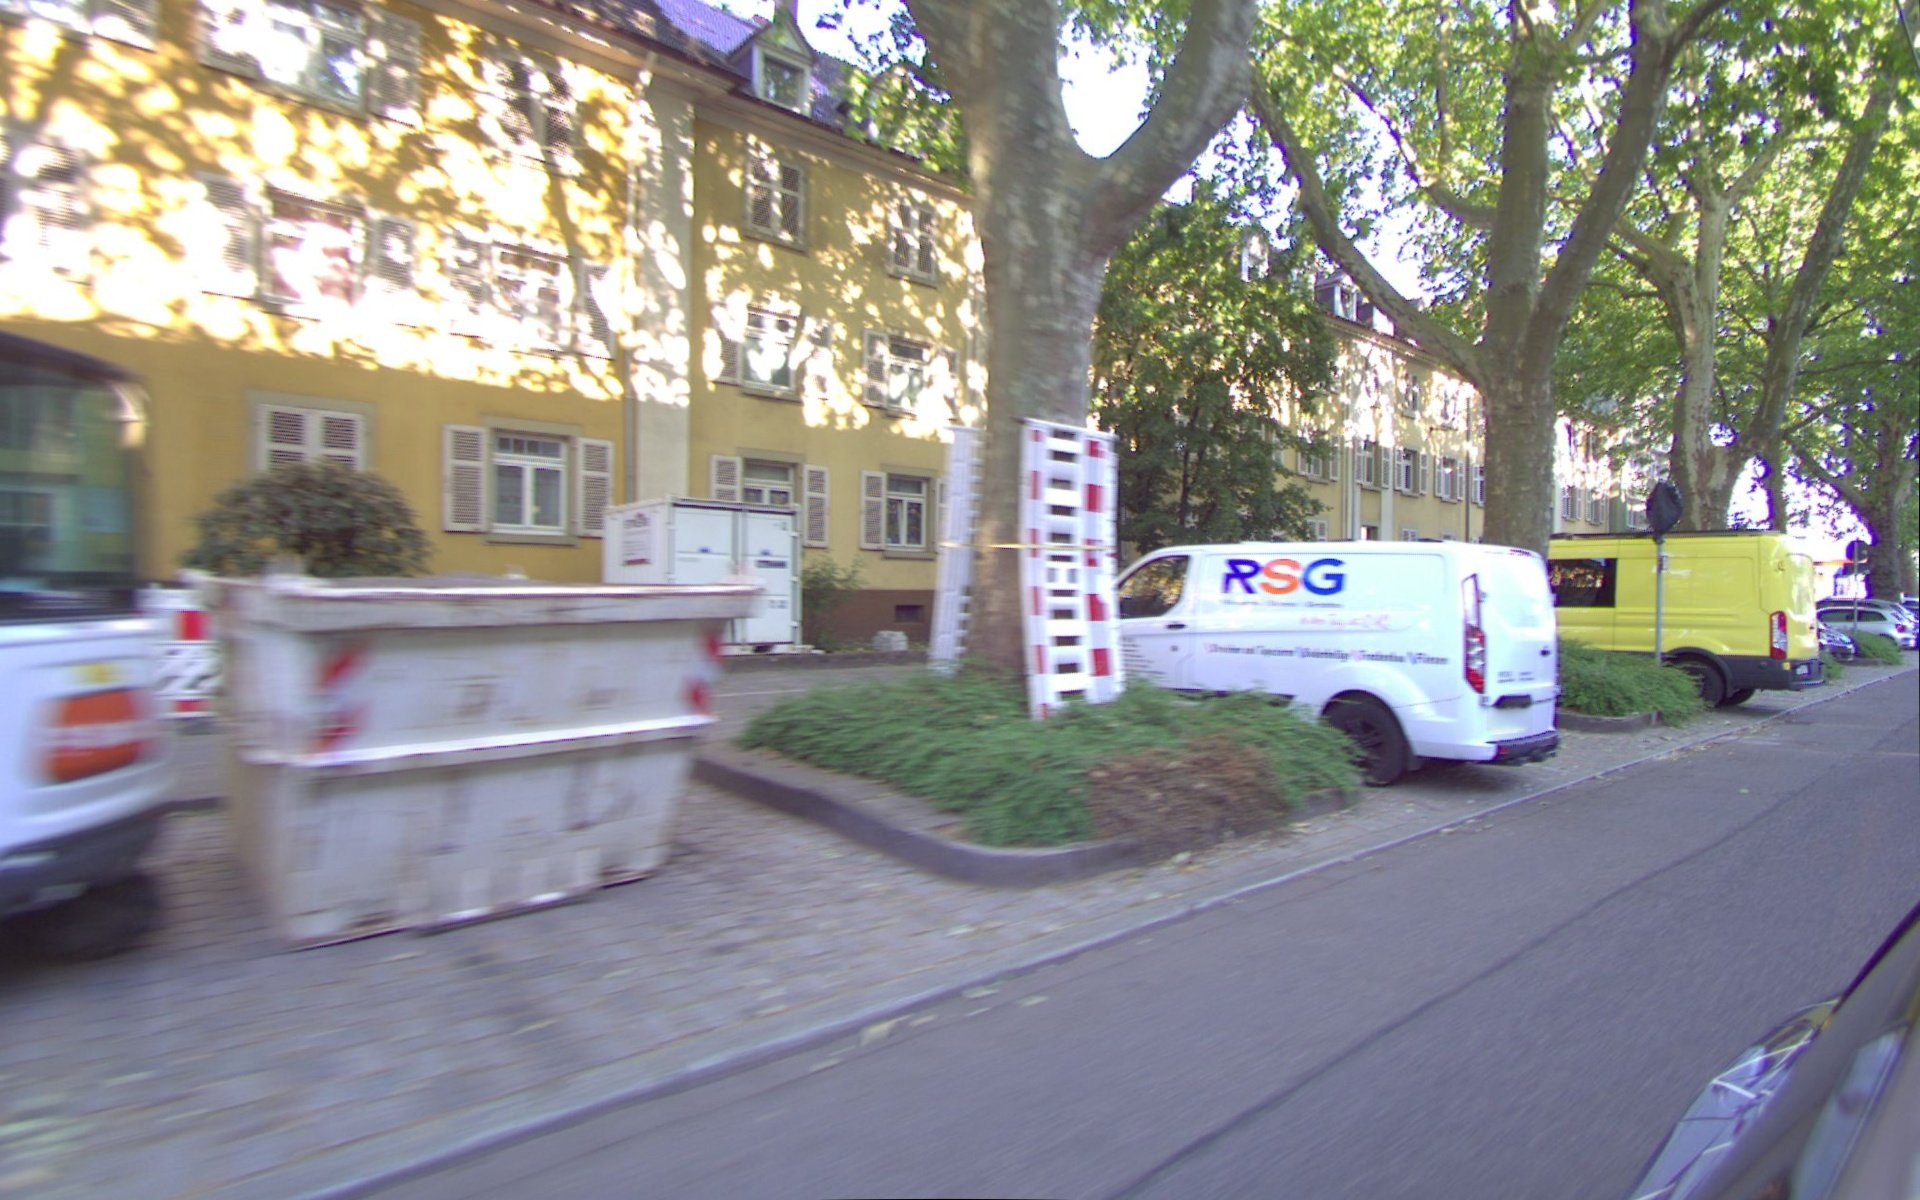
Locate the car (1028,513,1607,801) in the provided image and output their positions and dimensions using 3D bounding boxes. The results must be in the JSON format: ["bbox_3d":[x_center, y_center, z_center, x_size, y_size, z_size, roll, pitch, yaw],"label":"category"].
[{"bbox_3d":[3.071,0.346,9.656,2.027,2.038,4.844,1,1,-40],"label":"car"}]

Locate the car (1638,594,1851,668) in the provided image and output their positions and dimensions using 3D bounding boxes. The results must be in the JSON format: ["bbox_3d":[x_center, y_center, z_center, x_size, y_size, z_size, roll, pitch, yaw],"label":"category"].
[{"bbox_3d":[18.032,0.642,23.369,1.708,1.444,3.656,0,2,-44],"label":"car"}]

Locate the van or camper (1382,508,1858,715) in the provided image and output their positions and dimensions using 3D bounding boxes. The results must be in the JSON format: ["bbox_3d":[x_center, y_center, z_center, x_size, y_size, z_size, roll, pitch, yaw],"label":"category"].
[{"bbox_3d":[10.102,0.057,16.079,2.229,2.662,5.941,-1,2,-38],"label":"van or camper"}]

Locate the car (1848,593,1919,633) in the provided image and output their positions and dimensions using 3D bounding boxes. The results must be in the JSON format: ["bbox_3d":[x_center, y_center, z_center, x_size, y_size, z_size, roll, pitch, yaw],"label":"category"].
[{"bbox_3d":[41.267,0.564,43.900,1.764,1.625,3.882,1,2,-41],"label":"car"}]

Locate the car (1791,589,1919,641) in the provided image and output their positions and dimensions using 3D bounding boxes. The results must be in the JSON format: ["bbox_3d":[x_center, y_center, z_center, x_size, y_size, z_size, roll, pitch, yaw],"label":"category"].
[{"bbox_3d":[32.642,0.510,36.067,1.875,1.678,4.432,0,2,-42],"label":"car"}]

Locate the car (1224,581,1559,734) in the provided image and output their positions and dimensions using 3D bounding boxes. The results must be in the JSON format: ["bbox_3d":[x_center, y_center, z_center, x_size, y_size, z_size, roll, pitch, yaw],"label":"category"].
[{"bbox_3d":[5.065,0.566,12.129,1.669,1.559,3.309,0,1,-42],"label":"car"}]

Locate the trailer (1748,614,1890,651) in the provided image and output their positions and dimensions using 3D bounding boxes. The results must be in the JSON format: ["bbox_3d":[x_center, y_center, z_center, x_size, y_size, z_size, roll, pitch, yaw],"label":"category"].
[{"bbox_3d":[26.378,0.974,31.147,1.409,0.914,3.052,0,2,-34],"label":"trailer"}]

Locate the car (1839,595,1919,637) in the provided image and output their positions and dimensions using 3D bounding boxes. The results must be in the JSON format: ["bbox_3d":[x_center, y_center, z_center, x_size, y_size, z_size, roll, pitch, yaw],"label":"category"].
[{"bbox_3d":[37.596,0.646,40.183,1.712,1.516,3.886,0,2,-43],"label":"car"}]

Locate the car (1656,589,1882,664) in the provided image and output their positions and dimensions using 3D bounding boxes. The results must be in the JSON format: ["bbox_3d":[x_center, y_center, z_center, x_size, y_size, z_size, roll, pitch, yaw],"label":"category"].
[{"bbox_3d":[19.879,0.585,25.007,1.798,1.569,4.084,0,2,-41],"label":"car"}]

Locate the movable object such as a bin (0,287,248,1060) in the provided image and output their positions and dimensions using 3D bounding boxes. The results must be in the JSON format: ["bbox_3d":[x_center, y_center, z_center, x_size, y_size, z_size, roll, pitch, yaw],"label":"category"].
[{"bbox_3d":[-4.510,0.201,3.338,3.210,2.297,1.488,1,0,-7],"label":"movable object such as a bin"}]

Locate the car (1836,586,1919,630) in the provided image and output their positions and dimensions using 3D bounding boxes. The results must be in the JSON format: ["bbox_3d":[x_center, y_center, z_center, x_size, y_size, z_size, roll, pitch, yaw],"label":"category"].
[{"bbox_3d":[43.092,0.386,45.654,1.881,1.878,5.124,-1,3,-41],"label":"car"}]

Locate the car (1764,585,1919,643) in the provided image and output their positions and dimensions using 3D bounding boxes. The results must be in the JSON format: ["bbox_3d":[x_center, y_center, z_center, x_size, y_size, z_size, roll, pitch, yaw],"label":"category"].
[{"bbox_3d":[30.683,0.458,34.841,1.806,1.753,4.322,1,2,-37],"label":"car"}]

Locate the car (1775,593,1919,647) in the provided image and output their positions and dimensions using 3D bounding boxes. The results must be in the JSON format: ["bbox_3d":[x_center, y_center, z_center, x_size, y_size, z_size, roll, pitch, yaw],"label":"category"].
[{"bbox_3d":[28.660,0.615,32.415,1.832,1.441,3.661,1,3,-39],"label":"car"}]

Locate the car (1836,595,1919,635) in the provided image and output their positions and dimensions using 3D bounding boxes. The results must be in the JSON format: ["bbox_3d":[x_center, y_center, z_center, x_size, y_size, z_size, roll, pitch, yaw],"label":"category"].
[{"bbox_3d":[39.531,0.654,42.122,1.785,1.542,4.410,1,1,-40],"label":"car"}]
